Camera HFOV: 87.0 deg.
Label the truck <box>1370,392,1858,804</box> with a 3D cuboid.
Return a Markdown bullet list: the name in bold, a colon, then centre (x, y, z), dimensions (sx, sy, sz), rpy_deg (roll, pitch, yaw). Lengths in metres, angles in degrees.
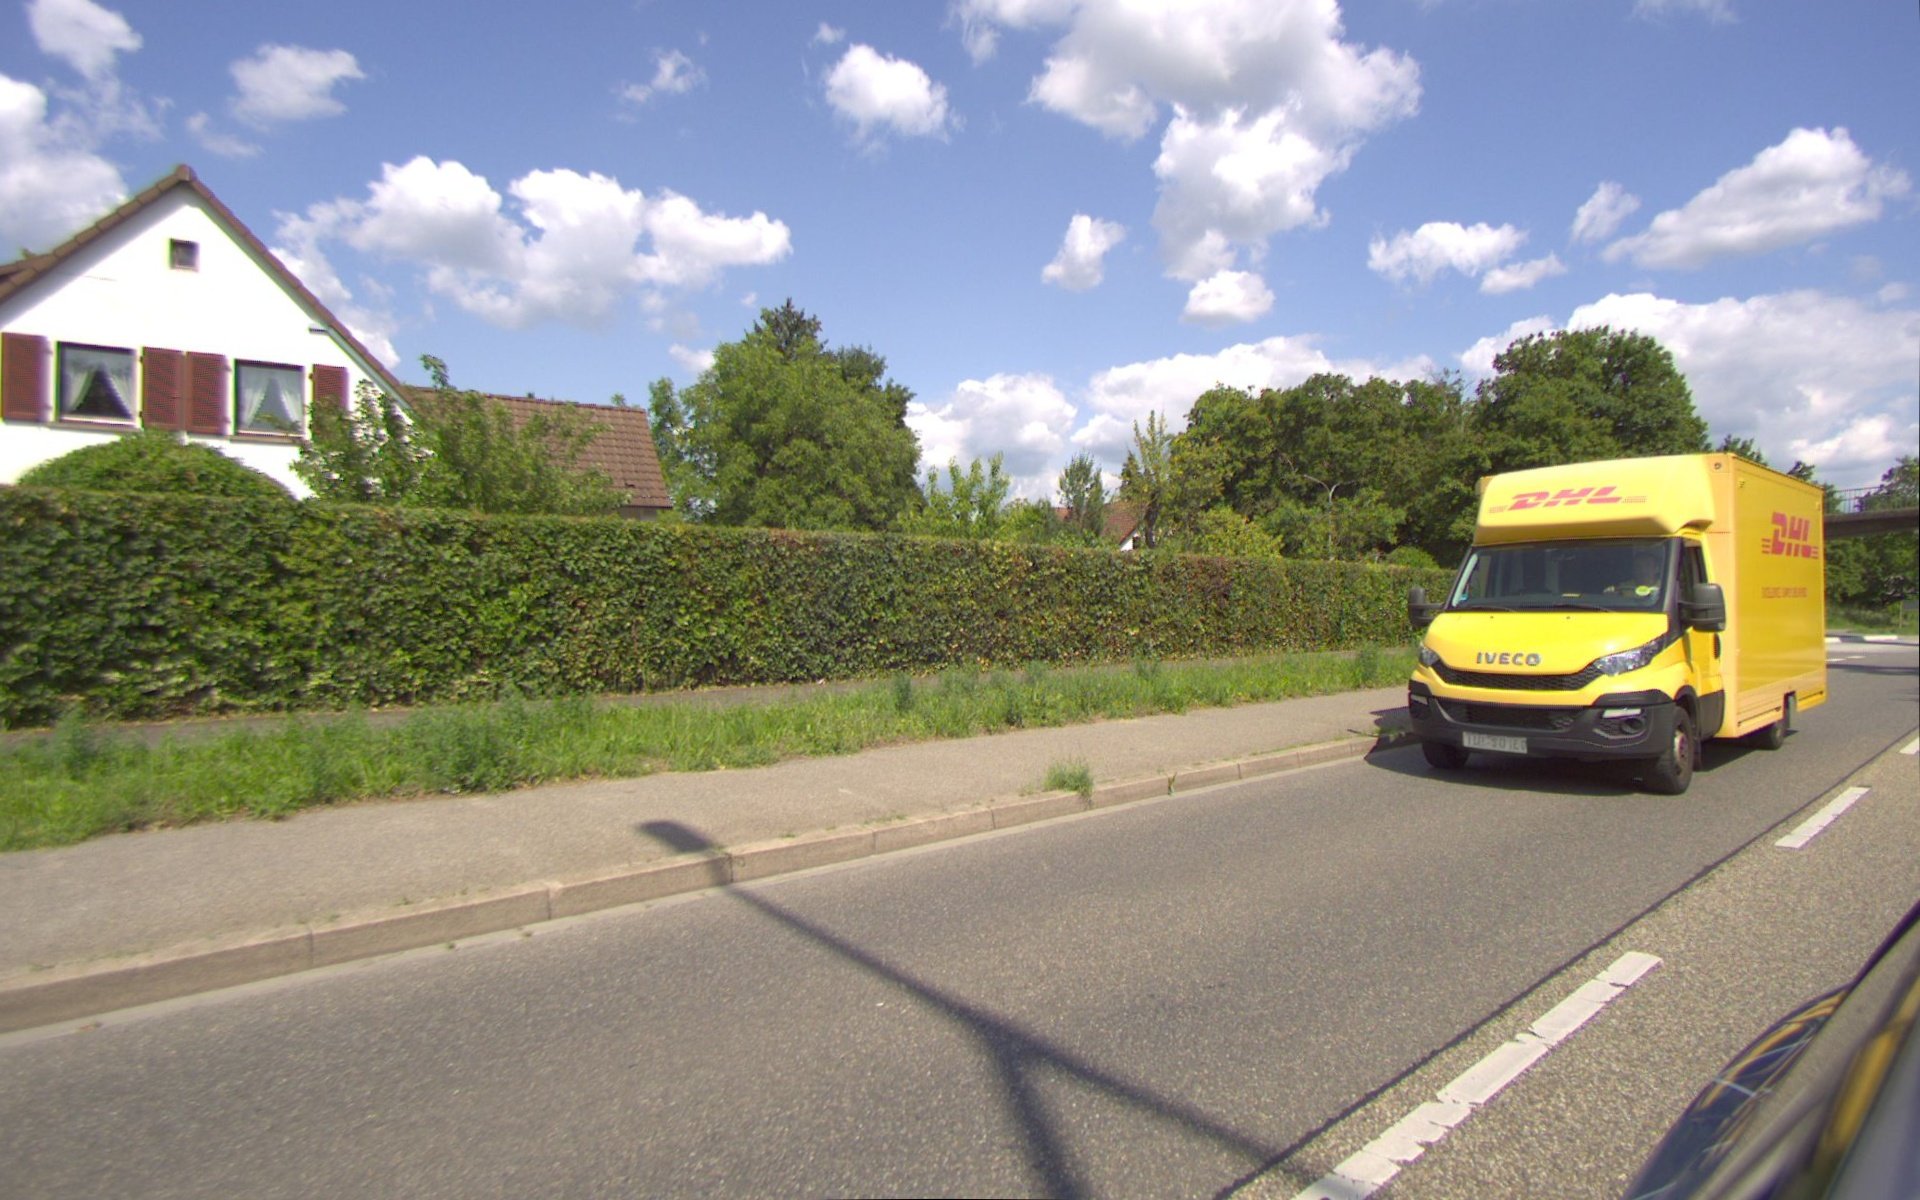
- **truck**: centre (7.306, -0.012, 10.649), dimensions (7.888, 2.917, 2.268), rpy_deg (0, -1, -42)
